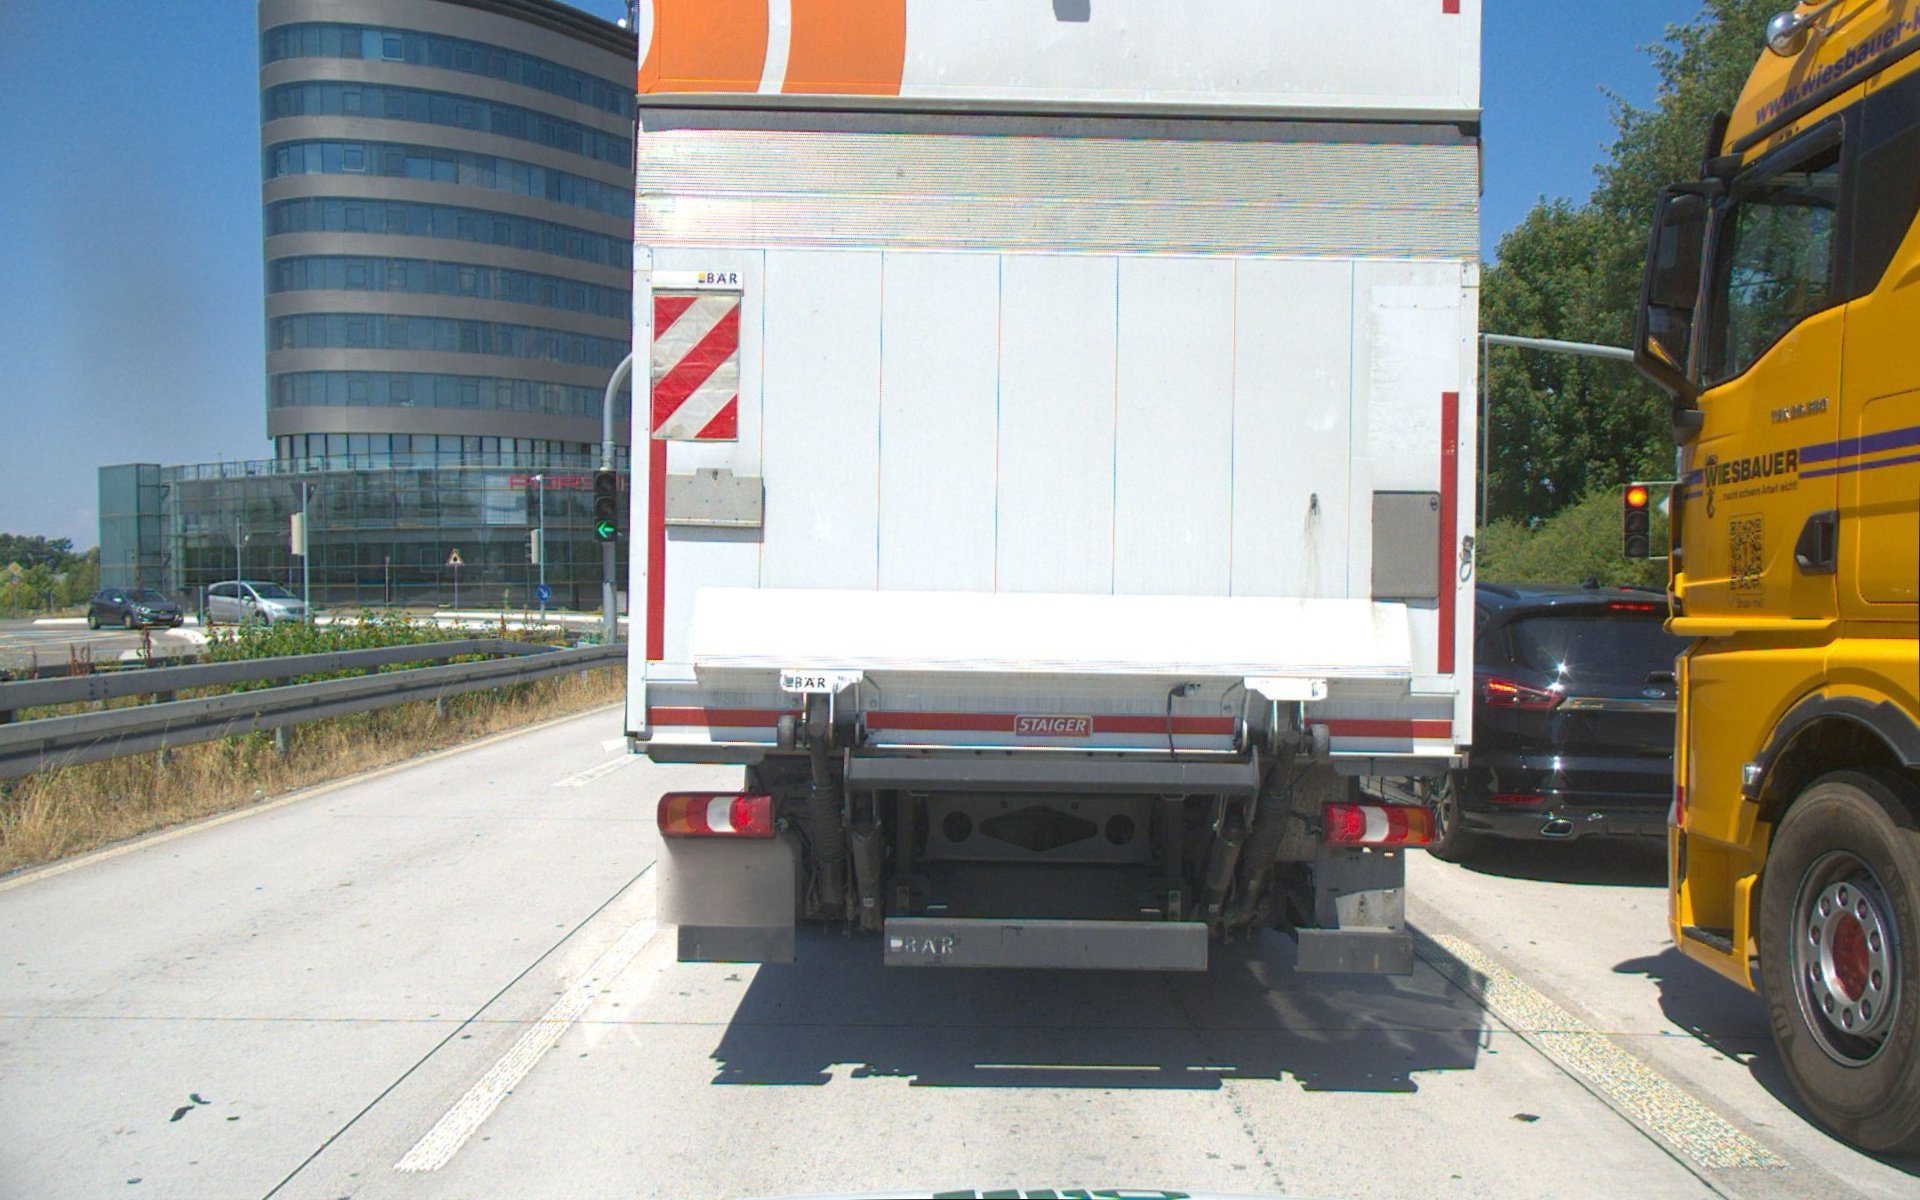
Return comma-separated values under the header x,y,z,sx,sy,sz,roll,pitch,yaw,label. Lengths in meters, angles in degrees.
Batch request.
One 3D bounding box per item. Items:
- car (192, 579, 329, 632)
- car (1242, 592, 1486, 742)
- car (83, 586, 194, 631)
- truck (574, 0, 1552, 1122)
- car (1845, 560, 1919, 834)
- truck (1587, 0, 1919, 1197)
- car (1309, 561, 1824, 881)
x,y,z,sx,sy,sz,roll,pitch,yaw,label
-22.653,0.208,53.559,4.231,1.623,1.775,-1,-2,27,car
4.352,0.667,18.506,1.731,1.435,4.611,1,0,2,car
-28.799,0.330,57.961,4.241,1.482,1.691,-2,-2,35,car
0.242,-0.492,9.349,2.713,3.927,9.368,1,0,-1,truck
7.417,0.659,9.603,1.733,1.839,4.788,1,0,-4,car
3.948,-0.413,2.450,2.953,3.838,7.466,1,0,-2,truck
3.714,0.653,11.109,1.747,1.668,4.647,1,0,0,car
